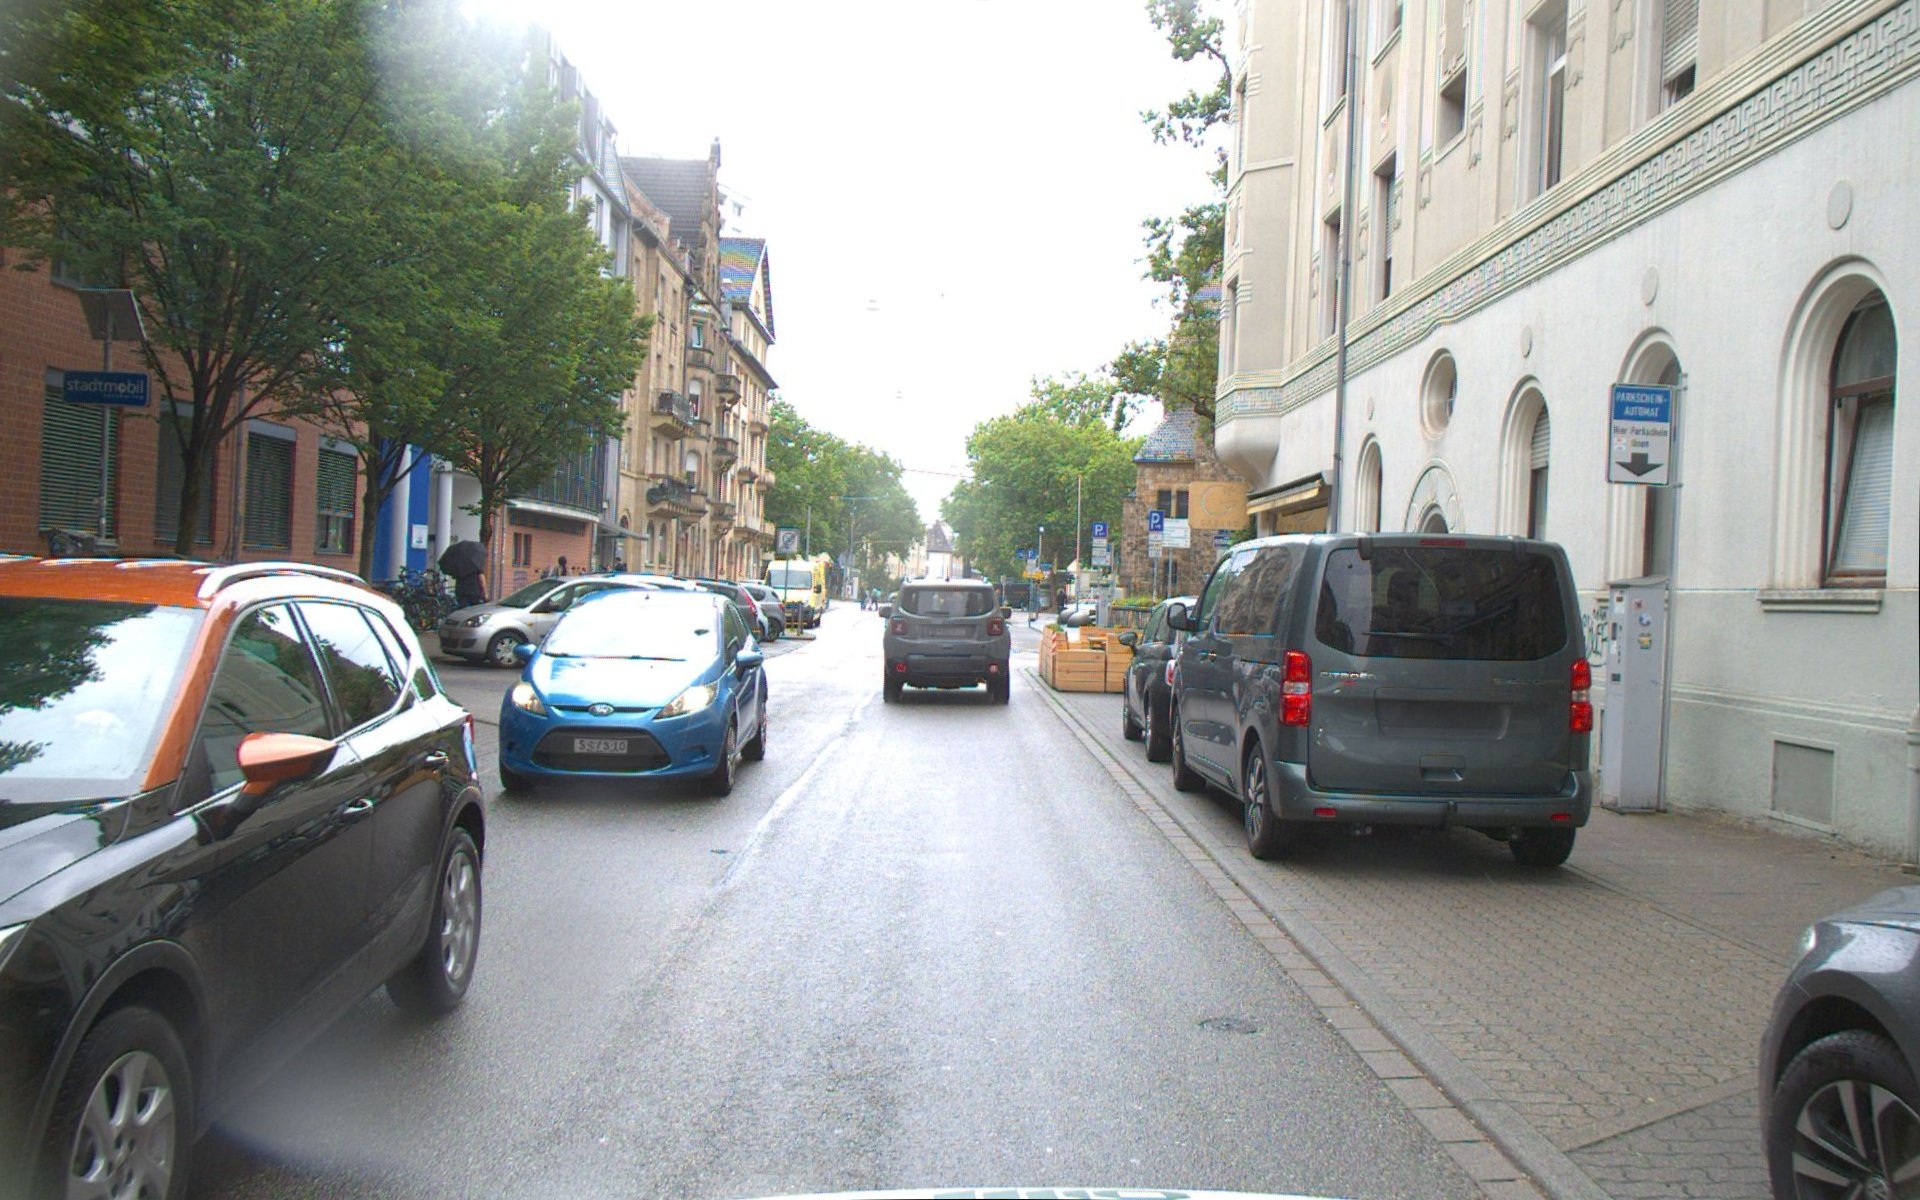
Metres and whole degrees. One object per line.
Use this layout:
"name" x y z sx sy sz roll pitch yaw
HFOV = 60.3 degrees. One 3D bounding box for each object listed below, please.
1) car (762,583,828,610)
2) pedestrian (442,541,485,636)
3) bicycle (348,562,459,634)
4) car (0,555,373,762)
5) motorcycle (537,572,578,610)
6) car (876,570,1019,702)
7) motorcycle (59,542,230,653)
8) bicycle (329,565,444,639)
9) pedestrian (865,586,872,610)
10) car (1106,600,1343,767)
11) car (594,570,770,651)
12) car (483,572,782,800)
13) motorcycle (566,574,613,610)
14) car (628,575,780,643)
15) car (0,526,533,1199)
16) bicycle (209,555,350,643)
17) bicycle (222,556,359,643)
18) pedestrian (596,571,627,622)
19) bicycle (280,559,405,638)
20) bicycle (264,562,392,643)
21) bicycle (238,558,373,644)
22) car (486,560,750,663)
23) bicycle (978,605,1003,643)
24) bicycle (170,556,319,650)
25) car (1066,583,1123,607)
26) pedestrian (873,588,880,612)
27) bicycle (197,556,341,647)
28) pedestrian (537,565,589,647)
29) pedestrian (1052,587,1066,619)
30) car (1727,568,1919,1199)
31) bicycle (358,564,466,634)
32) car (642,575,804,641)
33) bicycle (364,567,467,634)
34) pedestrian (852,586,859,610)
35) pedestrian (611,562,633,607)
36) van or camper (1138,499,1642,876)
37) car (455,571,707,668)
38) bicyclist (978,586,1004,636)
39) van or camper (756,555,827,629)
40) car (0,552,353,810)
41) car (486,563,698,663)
"car" -9.768 -0.185 97.885 3.383 1.339 1.758 4 -1 -34
"pedestrian" -9.293 -0.210 30.977 0.599 1.737 0.433 2 -2 0
"bicycle" -10.879 -0.044 32.342 1.859 1.172 0.553 7 0 -3
"car" -6.615 0.410 12.936 3.452 1.460 1.625 1 0 -43
"motorcycle" -13.442 -0.297 55.271 0.738 1.194 2.116 5 0 0
"car" -0.221 0.480 24.273 1.860 1.700 4.504 2 0 -2
"motorcycle" -10.861 -0.032 22.056 1.844 1.246 0.657 7 0 3
"bicycle" -10.856 0.037 31.351 1.859 1.172 0.553 7 0 -3
"pedestrian" -6.226 -0.107 112.501 0.458 1.613 0.752 2 0 -2
"car" 2.502 0.735 16.466 1.675 1.425 3.704 1 0 -1
"car" -5.993 0.232 35.727 3.342 1.568 1.663 3 0 -32
"car" -2.423 0.579 13.160 1.636 1.491 4.002 2 0 -2
"motorcycle" -13.328 -0.293 59.548 0.737 1.194 2.117 5 0 11
"car" -6.378 0.227 41.271 3.341 1.533 1.663 3 0 -31
"car" -2.434 0.639 4.474 1.636 1.586 4.001 2 0 -3
"bicycle" -10.721 -0.017 26.084 1.859 1.172 0.553 7 0 -3
"bicycle" -10.768 -0.002 26.641 1.859 1.172 0.553 7 0 -3
"pedestrian" -11.278 -0.106 53.507 0.694 1.578 0.608 4 0 6
"bicycle" -10.849 -0.029 29.102 1.859 1.172 0.553 7 0 -3
"bicycle" -10.874 0.048 28.476 1.859 1.172 0.553 7 0 -3
"bicycle" -10.718 0.014 27.114 1.859 1.172 0.553 7 0 -3
"car" -6.697 0.232 32.479 4.470 1.566 2.311 7 -3 -34
"bicycle" 0.900 0.689 49.048 0.690 1.072 1.812 1 0 0
"bicycle" -10.679 0.043 24.726 1.859 1.172 0.553 7 0 -3
"car" 13.765 -0.518 169.809 5.781 2.375 2.060 2 0 3
"pedestrian" -5.704 -0.025 113.123 0.458 1.613 0.752 2 0 -2
"bicycle" -10.662 0.018 25.550 1.859 1.172 0.553 7 0 -3
"pedestrian" -8.931 0.131 37.261 0.808 1.782 0.757 4 0 6
"pedestrian" 5.541 0.151 92.404 0.676 1.741 0.684 1 0 0
"car" 2.666 0.760 1.691 1.804 1.572 4.002 2 0 -2
"bicycle" -10.935 -0.025 33.053 1.859 1.172 0.553 7 0 -3
"car" -6.300 0.215 44.056 3.780 1.533 1.968 3 0 -31
"bicycle" -11.392 0.004 34.646 1.859 1.172 0.553 7 0 -3
"pedestrian" -7.061 -0.117 111.761 0.458 1.613 0.659 2 0 -2
"pedestrian" -13.594 -0.615 66.507 0.652 1.788 0.791 1 0 -24
"van or camper" 2.510 0.440 11.128 1.980 1.924 5.054 1 0 -1
"car" -6.162 0.311 27.053 3.672 1.477 1.664 1 0 -36
"bicyclist" 0.912 0.319 49.049 0.690 1.428 1.171 1 0 0
"van or camper" -6.421 -0.234 63.715 2.078 2.575 6.872 -1 -2 -1
"car" -6.076 0.443 10.252 3.943 1.472 1.742 4 0 -41
"car" -6.561 0.236 29.588 3.345 1.683 1.615 1 0 -34
